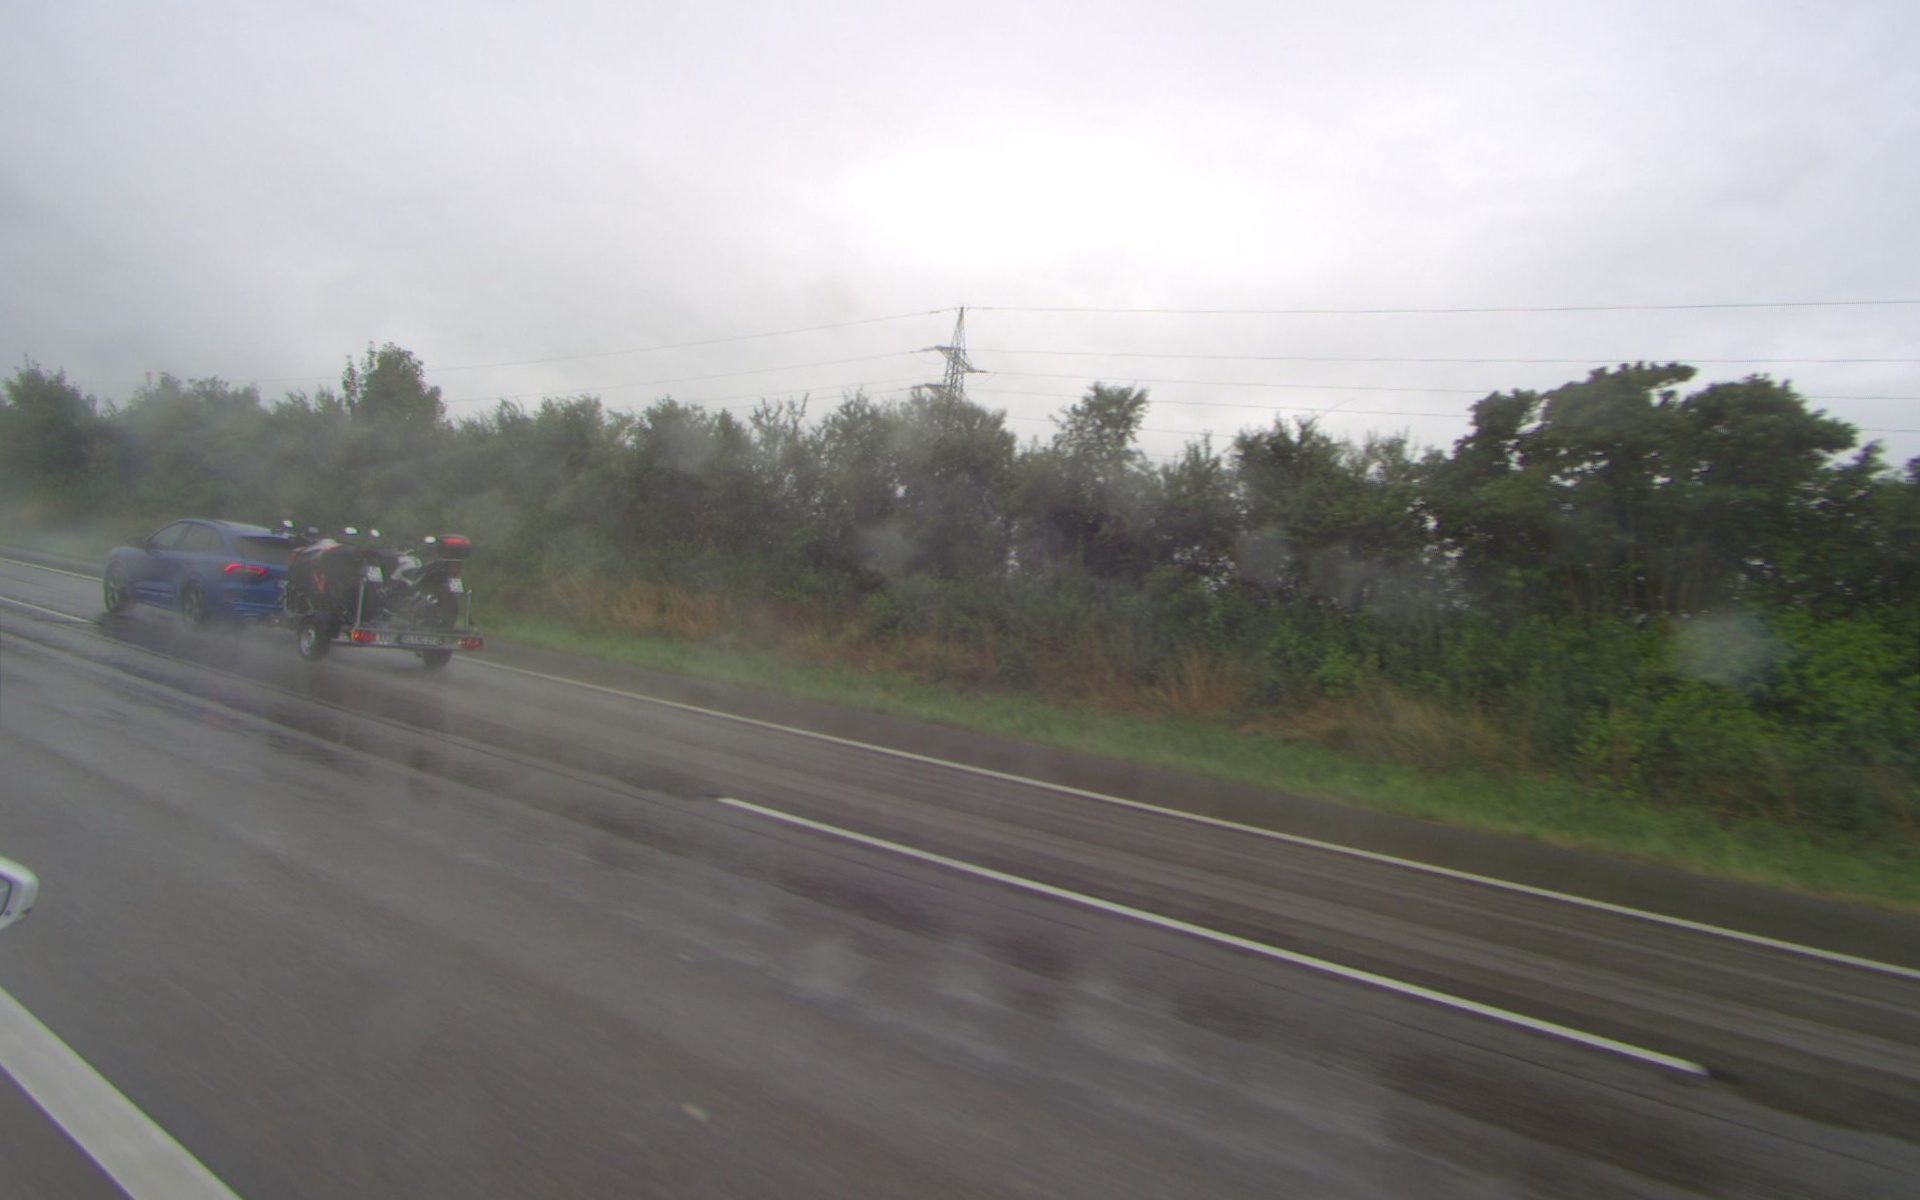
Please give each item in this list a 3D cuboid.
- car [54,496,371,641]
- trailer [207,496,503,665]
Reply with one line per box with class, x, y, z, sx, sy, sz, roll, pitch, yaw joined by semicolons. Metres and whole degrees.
car;-11.496;-0.512;15.390;4.908;1.638;1.998;6;-2;30
trailer;-8.003;-0.253;13.324;3.135;1.806;1.983;6;-2;31
